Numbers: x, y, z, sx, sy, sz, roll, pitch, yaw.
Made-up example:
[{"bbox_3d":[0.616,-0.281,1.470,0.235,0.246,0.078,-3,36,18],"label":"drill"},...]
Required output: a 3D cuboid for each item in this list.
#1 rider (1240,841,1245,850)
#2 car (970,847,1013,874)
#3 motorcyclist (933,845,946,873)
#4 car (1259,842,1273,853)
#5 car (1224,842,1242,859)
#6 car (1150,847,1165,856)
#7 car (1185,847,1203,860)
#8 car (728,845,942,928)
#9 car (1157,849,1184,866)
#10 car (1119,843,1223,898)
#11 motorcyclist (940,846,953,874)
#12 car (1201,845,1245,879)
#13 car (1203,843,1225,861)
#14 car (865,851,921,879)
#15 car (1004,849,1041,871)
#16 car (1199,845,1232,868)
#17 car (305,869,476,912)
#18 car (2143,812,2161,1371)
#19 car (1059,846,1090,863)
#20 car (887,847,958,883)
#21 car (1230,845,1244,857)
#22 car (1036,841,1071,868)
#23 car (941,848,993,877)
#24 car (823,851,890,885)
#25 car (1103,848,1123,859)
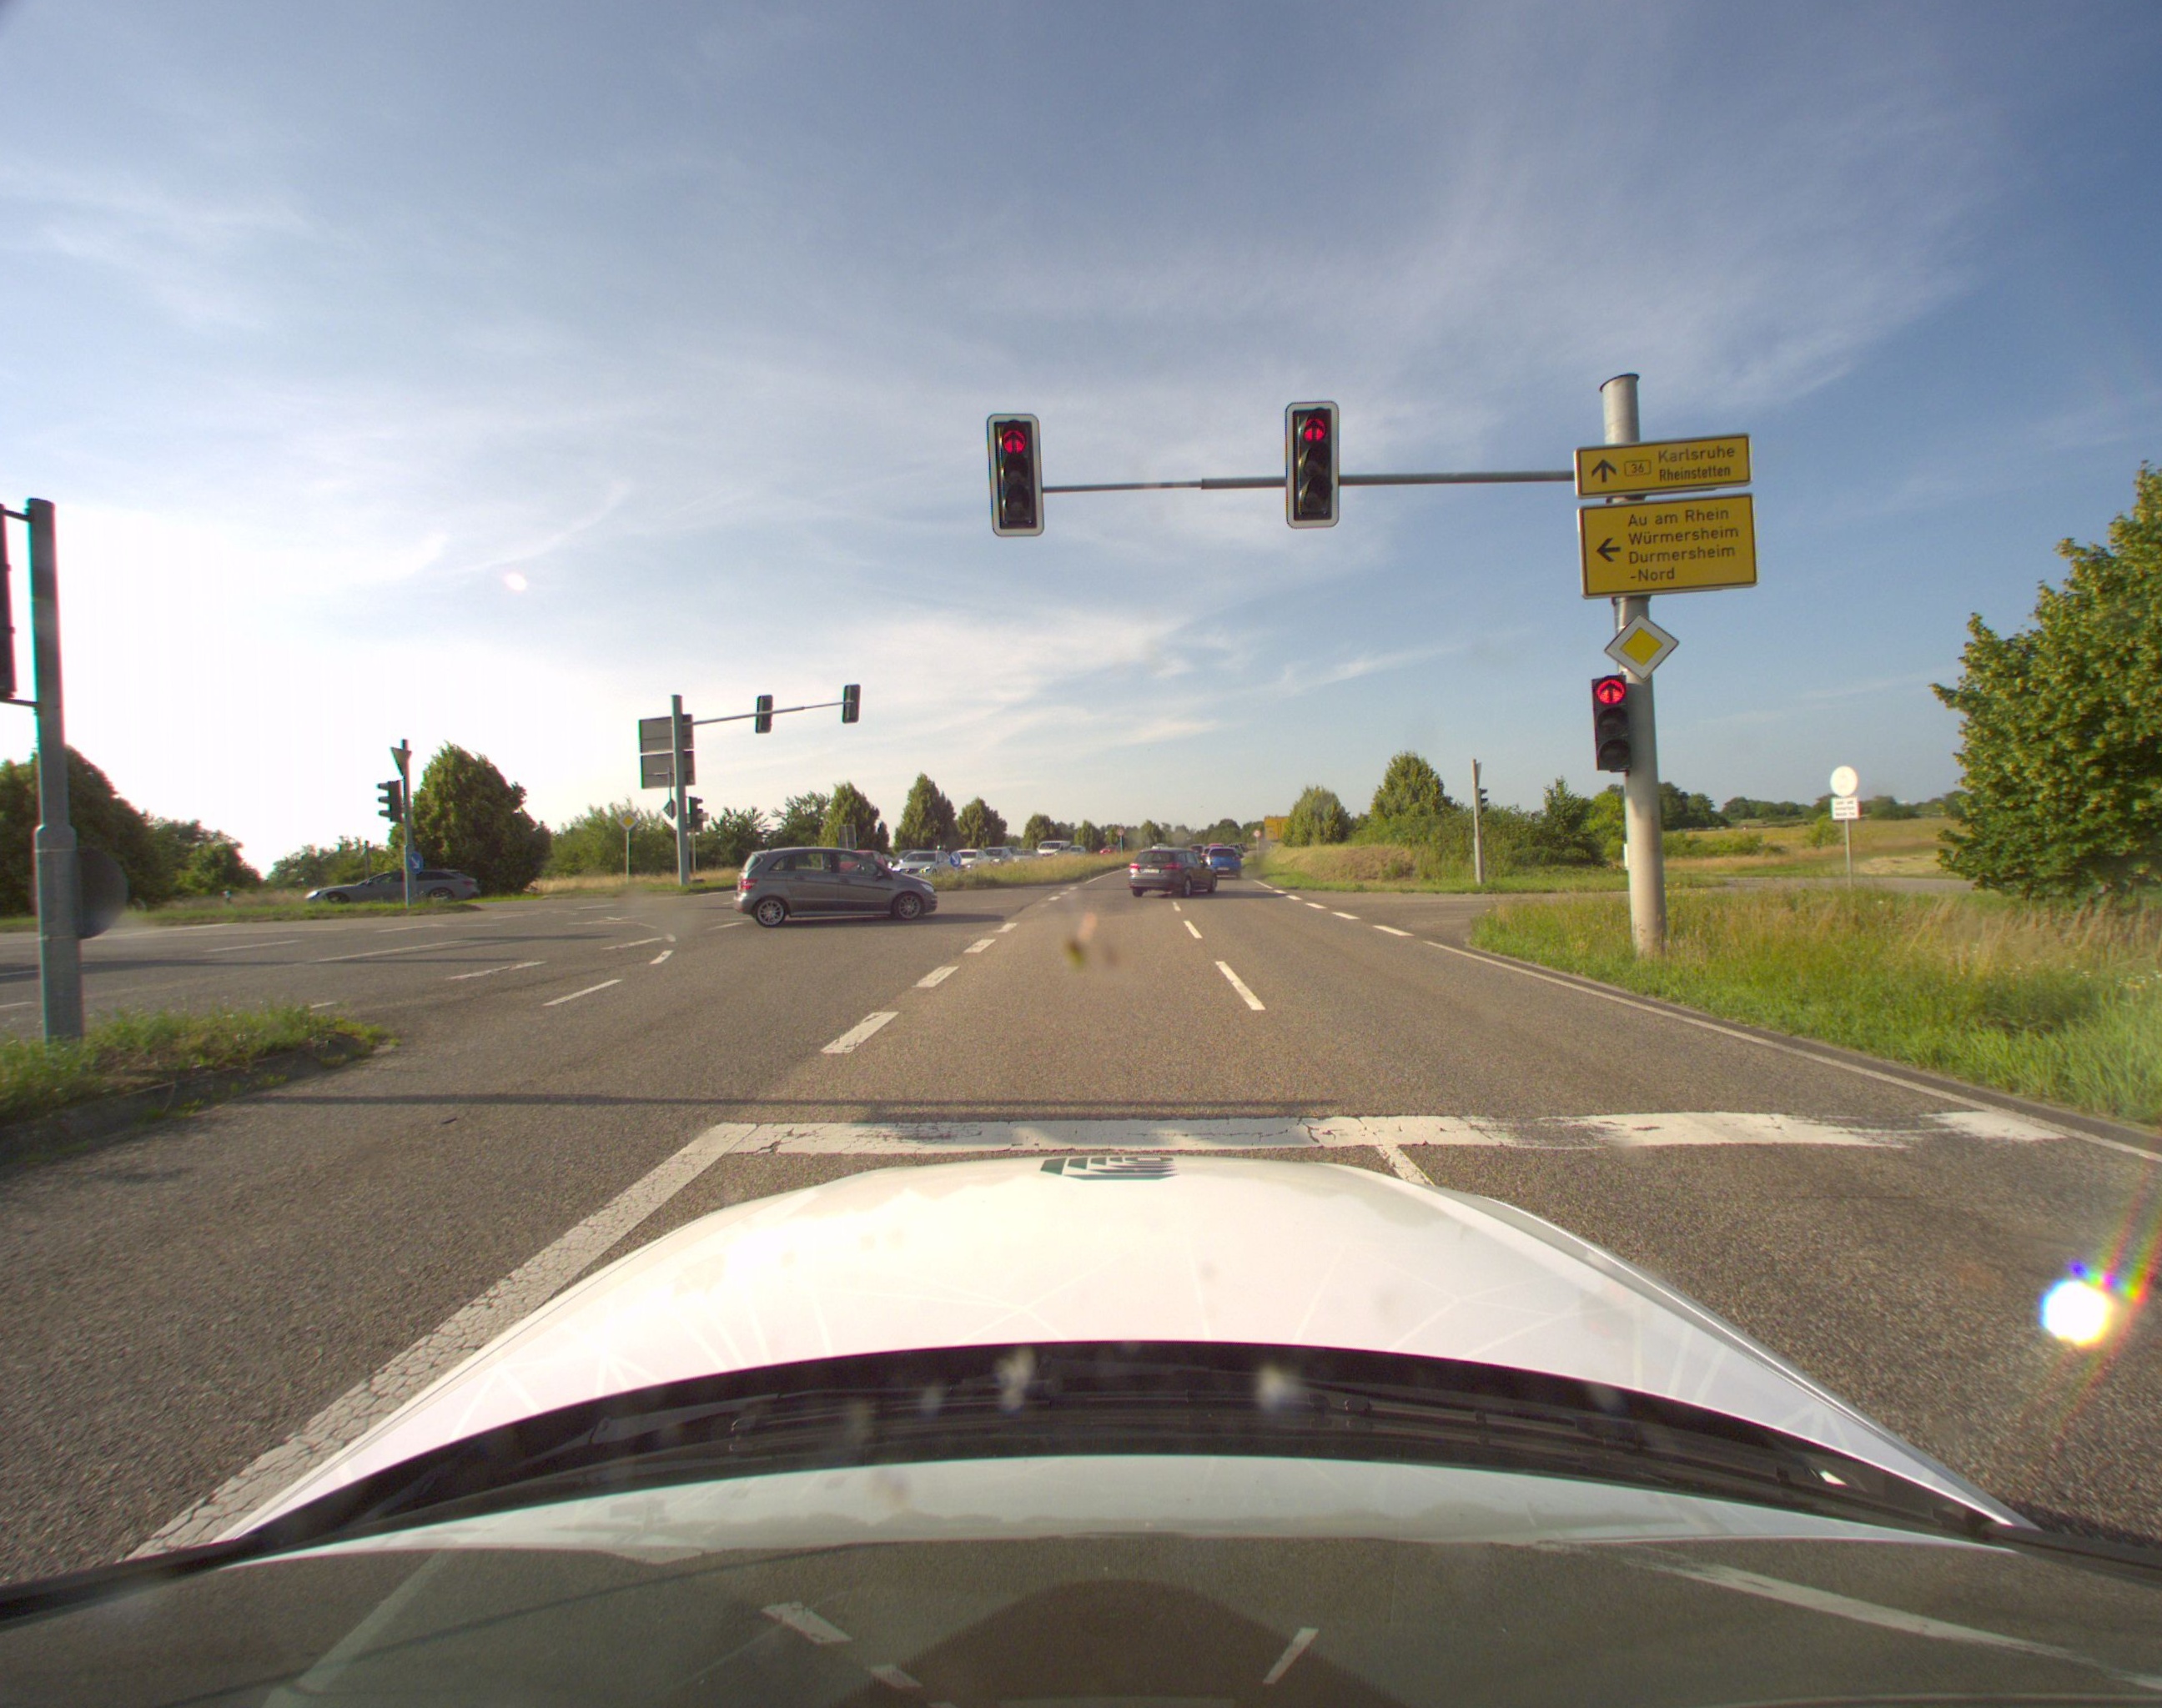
[{"bbox_3d":[34.824,-1.842,175.925,0.861,2.013,0.775,-2,0,17],"label":"rider"},{"bbox_3d":[-5.564,0.389,51.017,1.777,1.568,4.059,-2,0,6],"label":"car"},{"bbox_3d":[-8.845,0.324,50.878,0.660,1.747,0.605,-2,0,-1],"label":"motorcyclist"},{"bbox_3d":[30.728,-1.024,135.622,1.898,1.734,4.287,-1,-1,8],"label":"car"},{"bbox_3d":[16.928,-0.355,90.577,1.897,1.800,4.289,-1,-1,10],"label":"car"},{"bbox_3d":[12.387,-0.350,131.884,1.772,1.385,4.068,-2,0,16],"label":"car"},{"bbox_3d":[12.375,-0.032,89.162,1.825,1.377,4.288,-1,-1,9],"label":"car"},{"bbox_3d":[-5.293,0.638,17.547,4.204,1.605,1.775,0,-1,-26],"label":"car"},{"bbox_3d":[7.297,0.284,65.929,1.897,1.323,4.289,-1,-1,10],"label":"car"},{"bbox_3d":[2.958,0.465,25.823,1.793,1.565,4.558,-1,0,26],"label":"car"},{"bbox_3d":[-8.884,0.395,53.755,0.660,1.817,0.605,-2,0,-1],"label":"motorcyclist"},{"bbox_3d":[6.700,0.342,38.143,1.760,1.492,3.999,-1,0,13],"label":"car"},{"bbox_3d":[12.296,-0.119,75.337,1.884,1.565,4.288,-1,-1,9],"label":"car"},{"bbox_3d":[-10.563,0.583,46.047,1.777,1.433,4.059,-2,0,6],"label":"car"},{"bbox_3d":[-4.049,0.406,57.098,1.777,1.385,4.059,-2,0,6],"label":"car"},{"bbox_3d":[8.678,0.210,52.745,1.904,1.416,3.802,-1,-1,7],"label":"car"},{"bbox_3d":[-25.548,1.310,30.375,4.691,1.292,1.426,-2,0,-33],"label":"car"},{"bbox_3d":[3.710,0.643,0.305,1.692,1.549,3.748,-2,0,-2],"label":"car"},{"bbox_3d":[-0.555,0.021,74.668,1.772,1.385,4.068,-2,0,16],"label":"car"},{"bbox_3d":[-7.106,0.463,37.031,1.777,1.488,4.660,-2,0,6],"label":"car"},{"bbox_3d":[22.820,-0.423,119.080,1.897,1.734,4.289,-1,-1,10],"label":"car"},{"bbox_3d":[-2.214,0.058,66.596,1.913,2.078,4.255,-2,0,10],"label":"car"},{"bbox_3d":[-6.189,0.435,44.753,1.777,1.433,4.317,-2,0,6],"label":"car"},{"bbox_3d":[-10.648,0.616,38.903,1.711,1.488,3.812,-2,0,7],"label":"car"},{"bbox_3d":[4.468,-0.059,112.433,1.772,1.385,4.068,-2,0,16],"label":"car"}]
